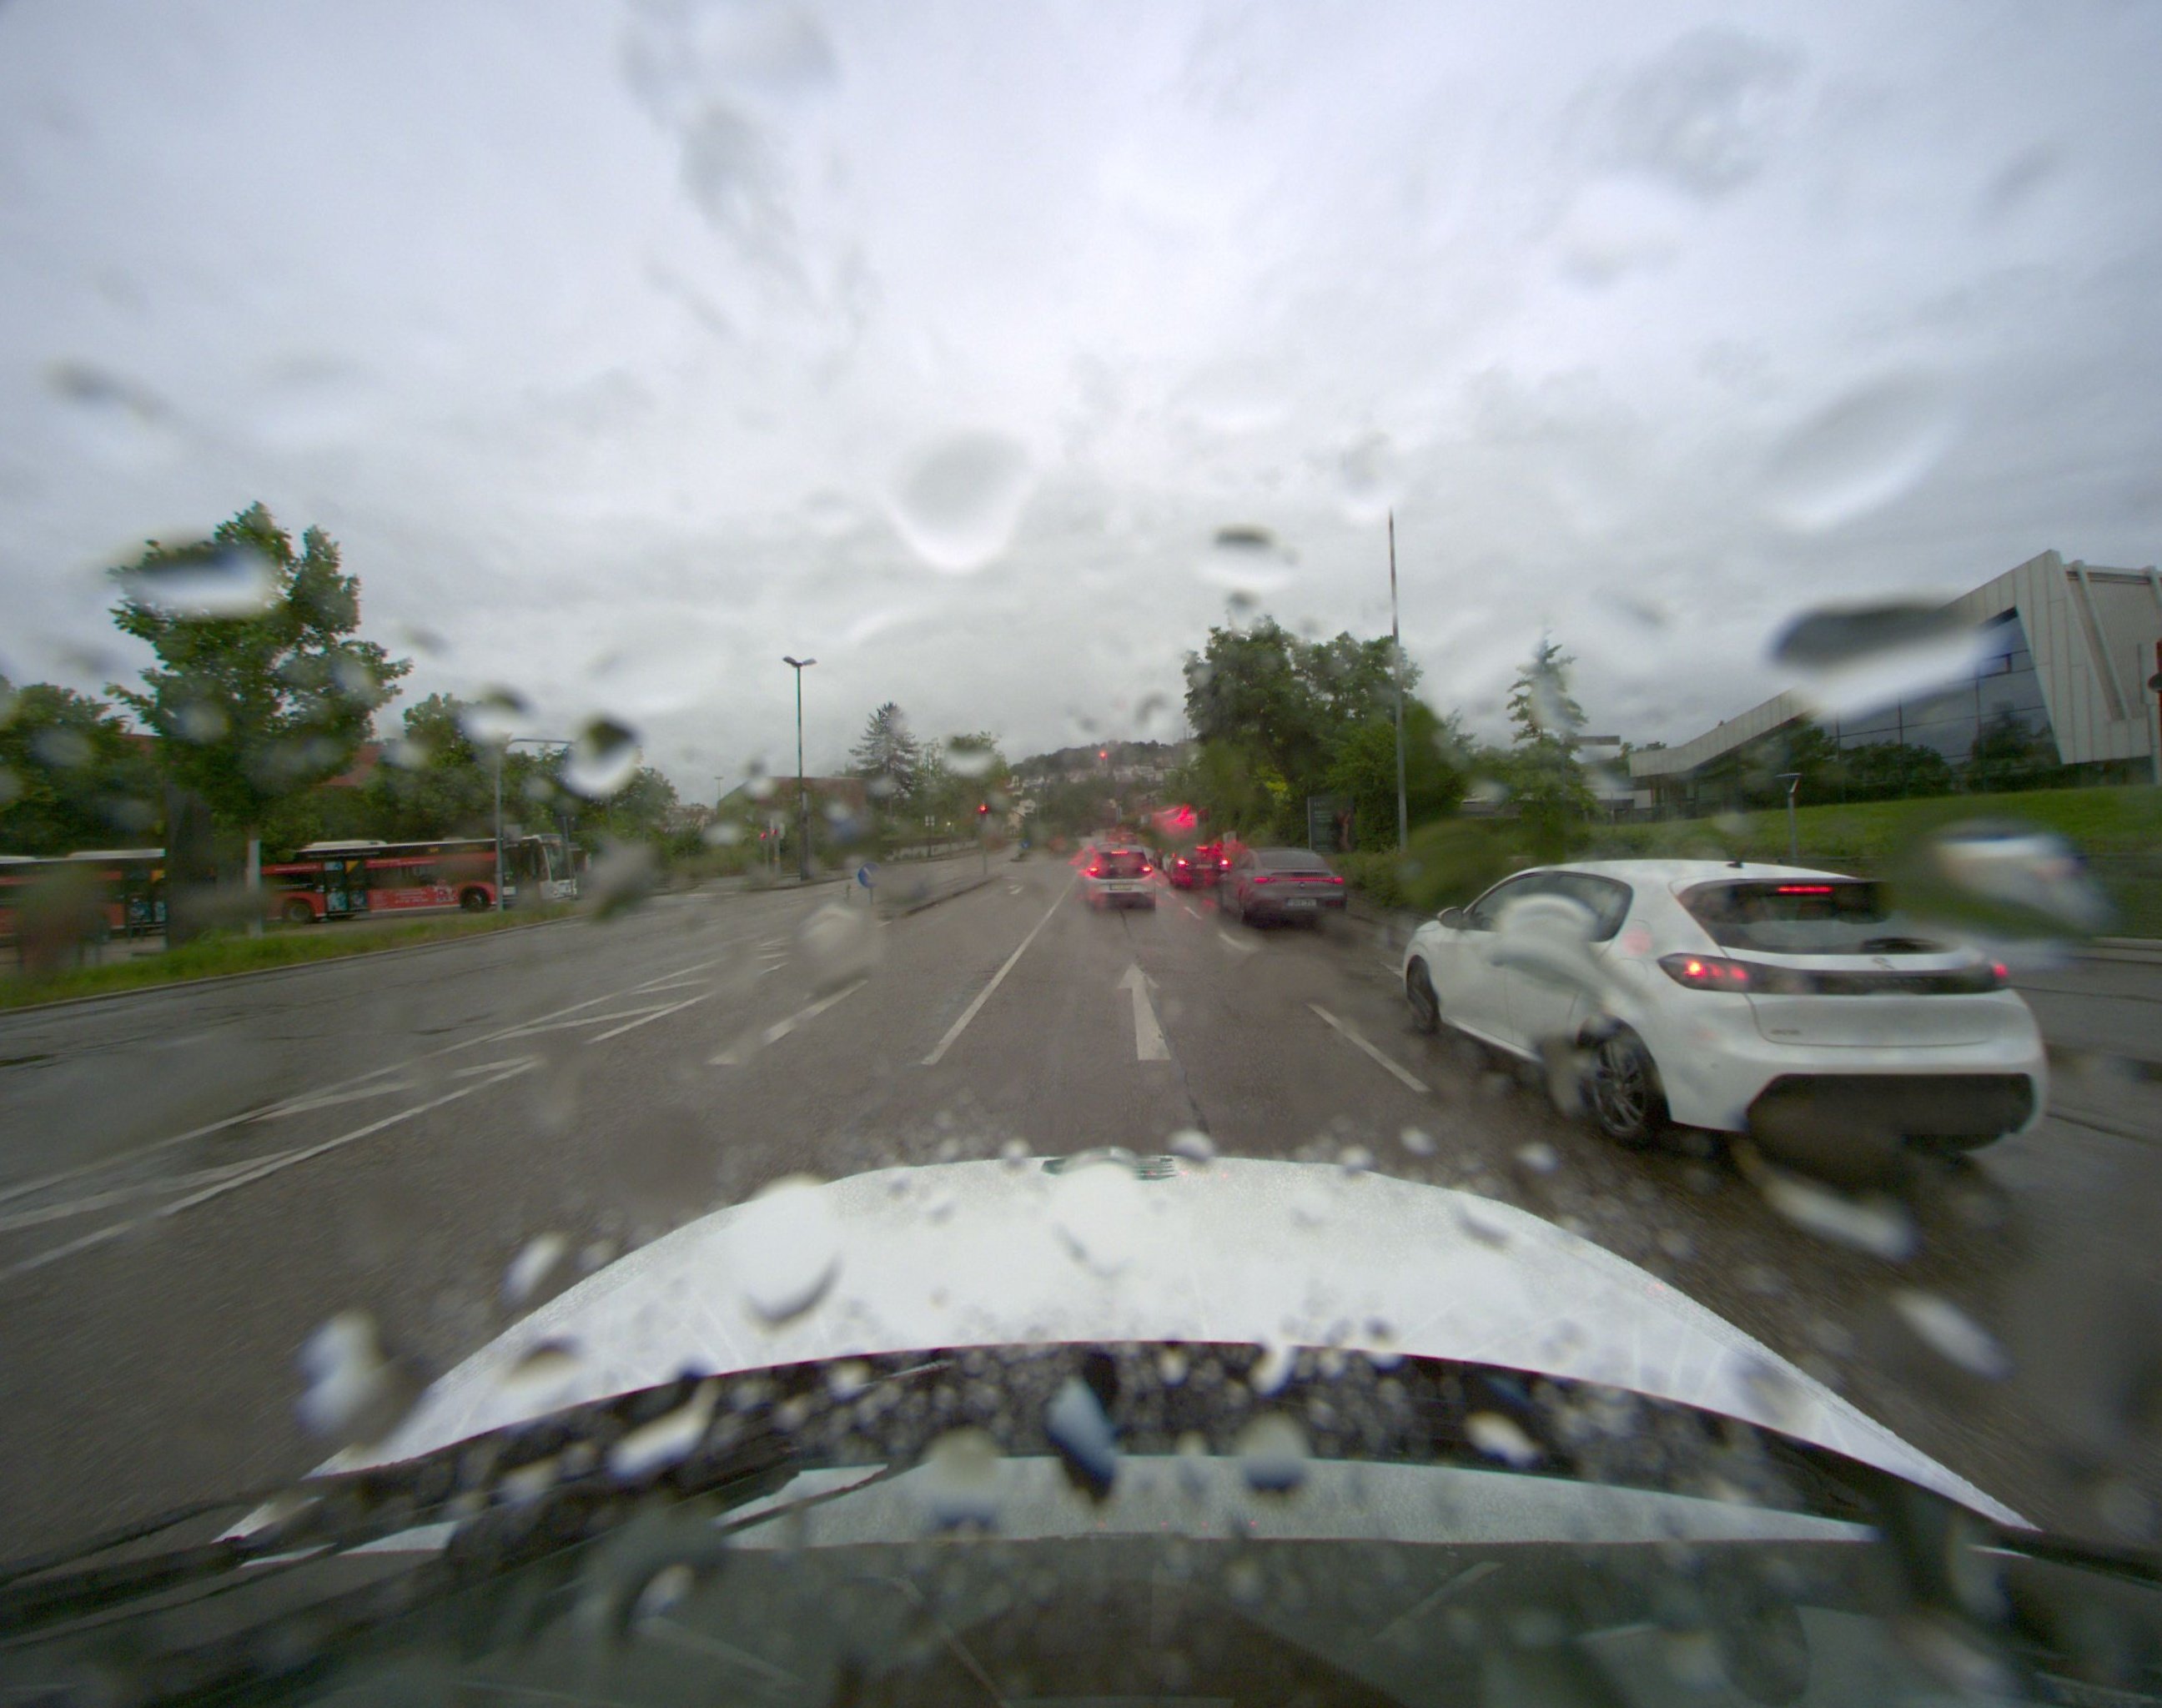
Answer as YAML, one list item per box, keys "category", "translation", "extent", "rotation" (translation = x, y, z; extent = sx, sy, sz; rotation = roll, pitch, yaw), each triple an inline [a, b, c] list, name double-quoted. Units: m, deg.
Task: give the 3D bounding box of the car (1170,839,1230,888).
- category: "car"
  translation: [3.976, 0.381, 27.747]
  extent: [1.641, 1.485, 3.368]
  rotation: [-3, -2, 3]

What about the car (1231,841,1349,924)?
- category: "car"
  translation: [3.980, 0.479, 15.961]
  extent: [1.725, 1.387, 3.358]
  rotation: [-1, 2, 5]

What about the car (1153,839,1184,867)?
- category: "car"
  translation: [4.680, -0.082, 43.817]
  extent: [1.310, 1.397, 3.080]
  rotation: [-3, 1, 2]

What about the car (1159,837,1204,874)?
- category: "car"
  translation: [4.394, 0.100, 36.012]
  extent: [1.559, 1.397, 3.958]
  rotation: [-3, -2, 2]

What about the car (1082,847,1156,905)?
- category: "car"
  translation: [0.940, 0.510, 21.178]
  extent: [1.735, 1.295, 3.335]
  rotation: [-1, 1, 1]

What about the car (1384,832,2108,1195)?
- category: "car"
  translation: [3.536, 0.653, 5.406]
  extent: [1.684, 1.519, 3.935]
  rotation: [-1, 1, 2]

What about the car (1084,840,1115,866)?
- category: "car"
  translation: [0.956, -0.041, 41.438]
  extent: [1.379, 1.126, 2.612]
  rotation: [-3, -2, 4]

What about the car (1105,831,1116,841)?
- category: "car"
  translation: [4.157, -2.513, 115.010]
  extent: [1.363, 1.157, 2.424]
  rotation: [-3, -2, -2]

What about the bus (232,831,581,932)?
- category: "bus"
  translation: [-26.218, 1.045, 32.313]
  extent: [10.388, 3.281, 2.849]
  rotation: [-3, -3, -13]

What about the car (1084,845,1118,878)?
- category: "car"
  translation: [0.766, 0.321, 31.767]
  extent: [1.209, 1.156, 2.269]
  rotation: [-3, -3, 0]

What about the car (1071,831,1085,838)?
- category: "car"
  translation: [-0.614, -4.456, 183.428]
  extent: [1.517, 1.455, 3.128]
  rotation: [-5, -3, 40]

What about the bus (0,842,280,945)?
- category: "bus"
  translation: [-35.107, 1.422, 29.746]
  extent: [7.849, 3.281, 2.721]
  rotation: [-2, -3, -23]

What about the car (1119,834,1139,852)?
- category: "car"
  translation: [5.069, -1.134, 86.703]
  extent: [1.790, 1.569, 3.522]
  rotation: [-3, -2, -2]
